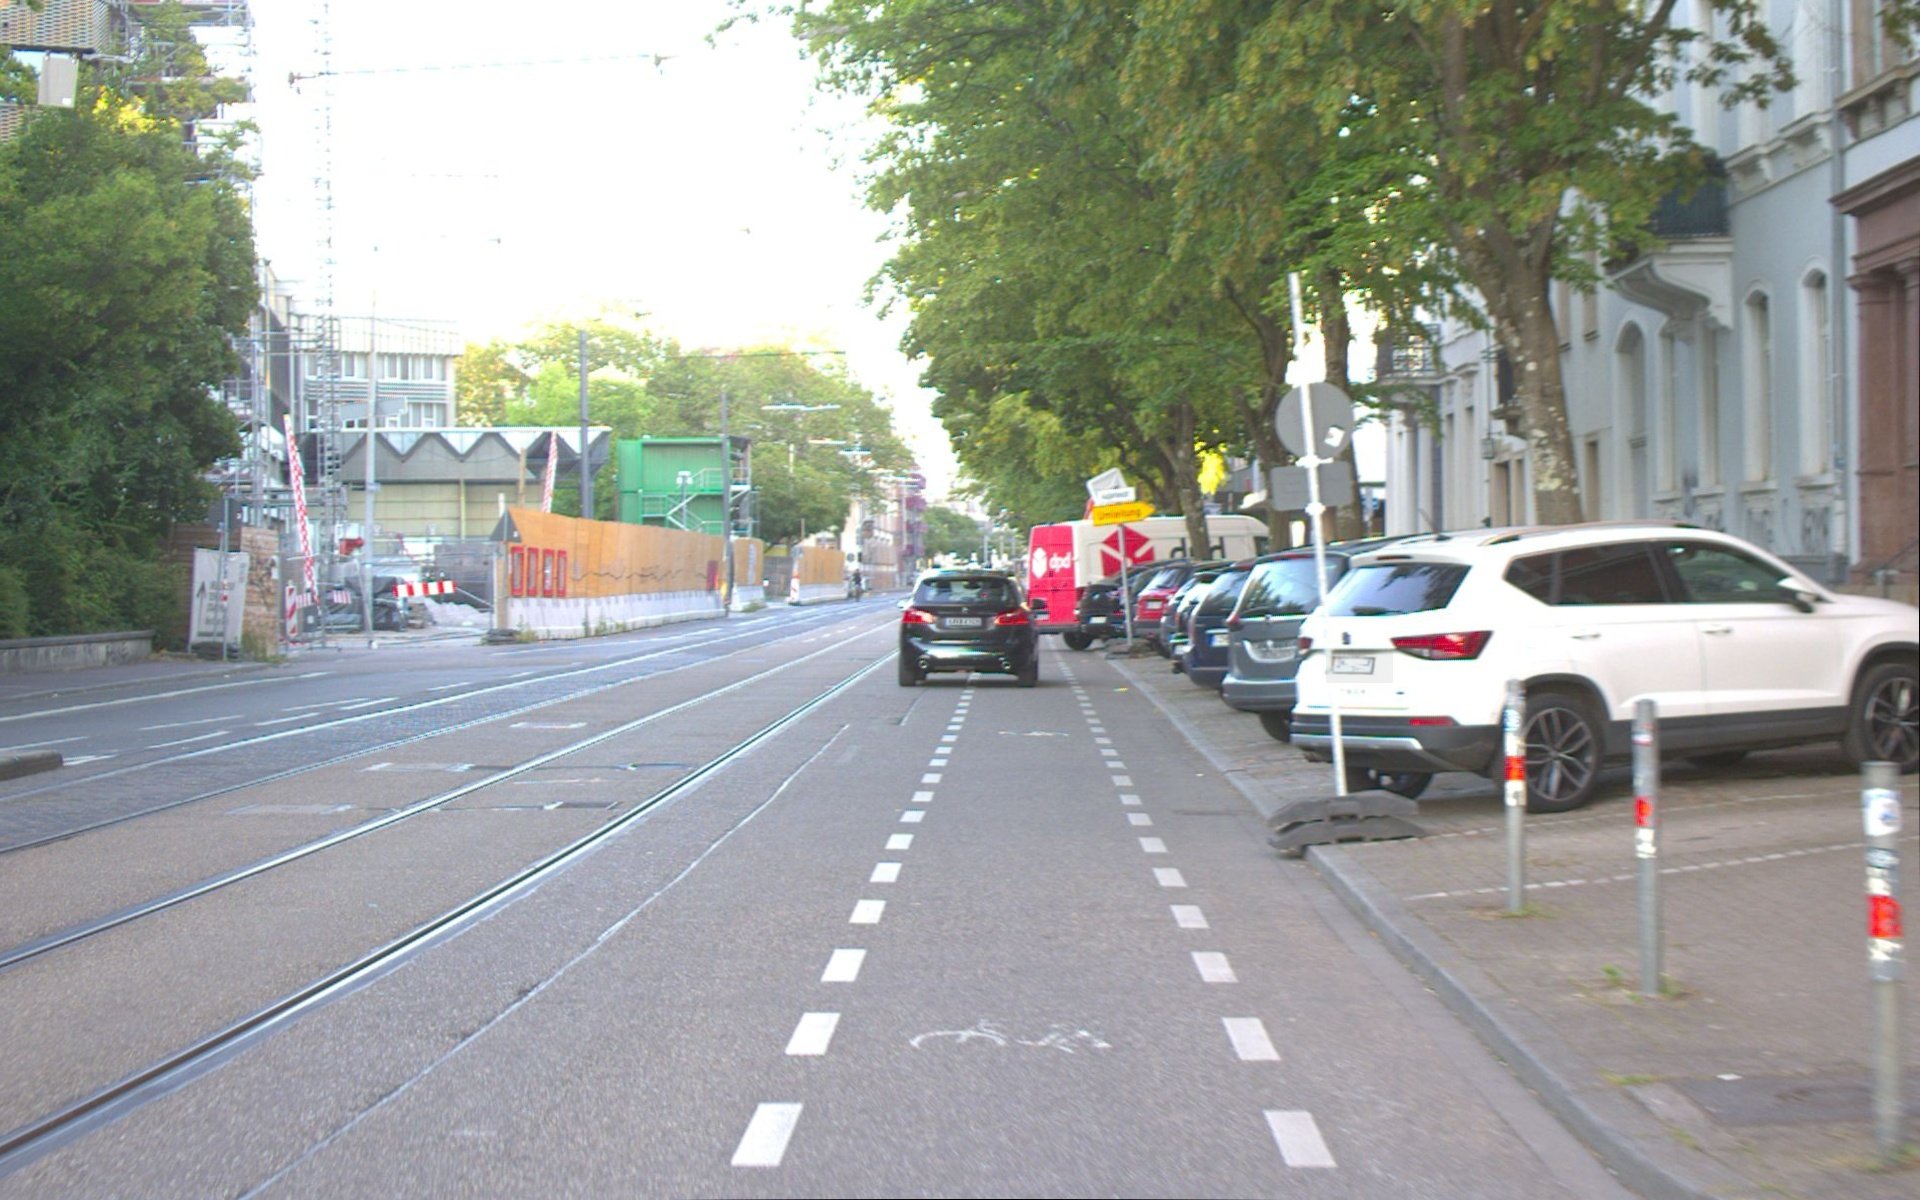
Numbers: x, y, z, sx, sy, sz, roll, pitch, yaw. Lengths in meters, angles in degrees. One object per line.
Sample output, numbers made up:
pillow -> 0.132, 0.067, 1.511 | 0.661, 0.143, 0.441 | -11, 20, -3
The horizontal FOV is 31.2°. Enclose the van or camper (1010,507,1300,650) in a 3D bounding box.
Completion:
van or camper -> 3.961, -0.450, 69.294 | 5.532, 2.522, 2.086 | -4, 1, -33

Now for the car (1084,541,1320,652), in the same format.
car -> 4.579, -0.068, 64.980 | 3.942, 1.759, 1.841 | -5, 1, -25

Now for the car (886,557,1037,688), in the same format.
car -> 0.035, 0.265, 45.986 | 1.882, 1.614, 4.000 | 2, 1, 1

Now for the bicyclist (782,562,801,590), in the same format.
bicyclist -> -8.382, -1.188, 171.040 | 0.944, 1.341, 1.111 | -1, 0, -2

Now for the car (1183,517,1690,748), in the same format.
car -> 4.015, 0.255, 28.737 | 3.943, 1.663, 1.901 | -4, 0, -38

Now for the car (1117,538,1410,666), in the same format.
car -> 4.555, 0.028, 51.511 | 3.942, 1.598, 1.840 | -4, 0, -31

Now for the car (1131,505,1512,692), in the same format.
car -> 4.142, -0.030, 39.151 | 3.944, 1.598, 1.840 | -9, 3, -35

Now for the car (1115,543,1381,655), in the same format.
car -> 4.811, -0.014, 57.335 | 3.941, 1.598, 1.841 | -4, 1, -25

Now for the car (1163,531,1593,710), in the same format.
car -> 4.240, 0.198, 34.743 | 3.942, 1.598, 1.840 | -3, 0, -31

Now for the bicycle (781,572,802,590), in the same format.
bicycle -> -8.417, -0.952, 171.829 | 0.948, 0.846, 2.697 | 0, 1, -2

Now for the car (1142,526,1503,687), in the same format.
car -> 4.421, 0.072, 41.797 | 3.942, 1.598, 1.840 | -6, 1, -31

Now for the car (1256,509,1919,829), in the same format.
car -> 3.918, 0.351, 20.656 | 3.942, 1.621, 1.674 | -3, 2, -29
